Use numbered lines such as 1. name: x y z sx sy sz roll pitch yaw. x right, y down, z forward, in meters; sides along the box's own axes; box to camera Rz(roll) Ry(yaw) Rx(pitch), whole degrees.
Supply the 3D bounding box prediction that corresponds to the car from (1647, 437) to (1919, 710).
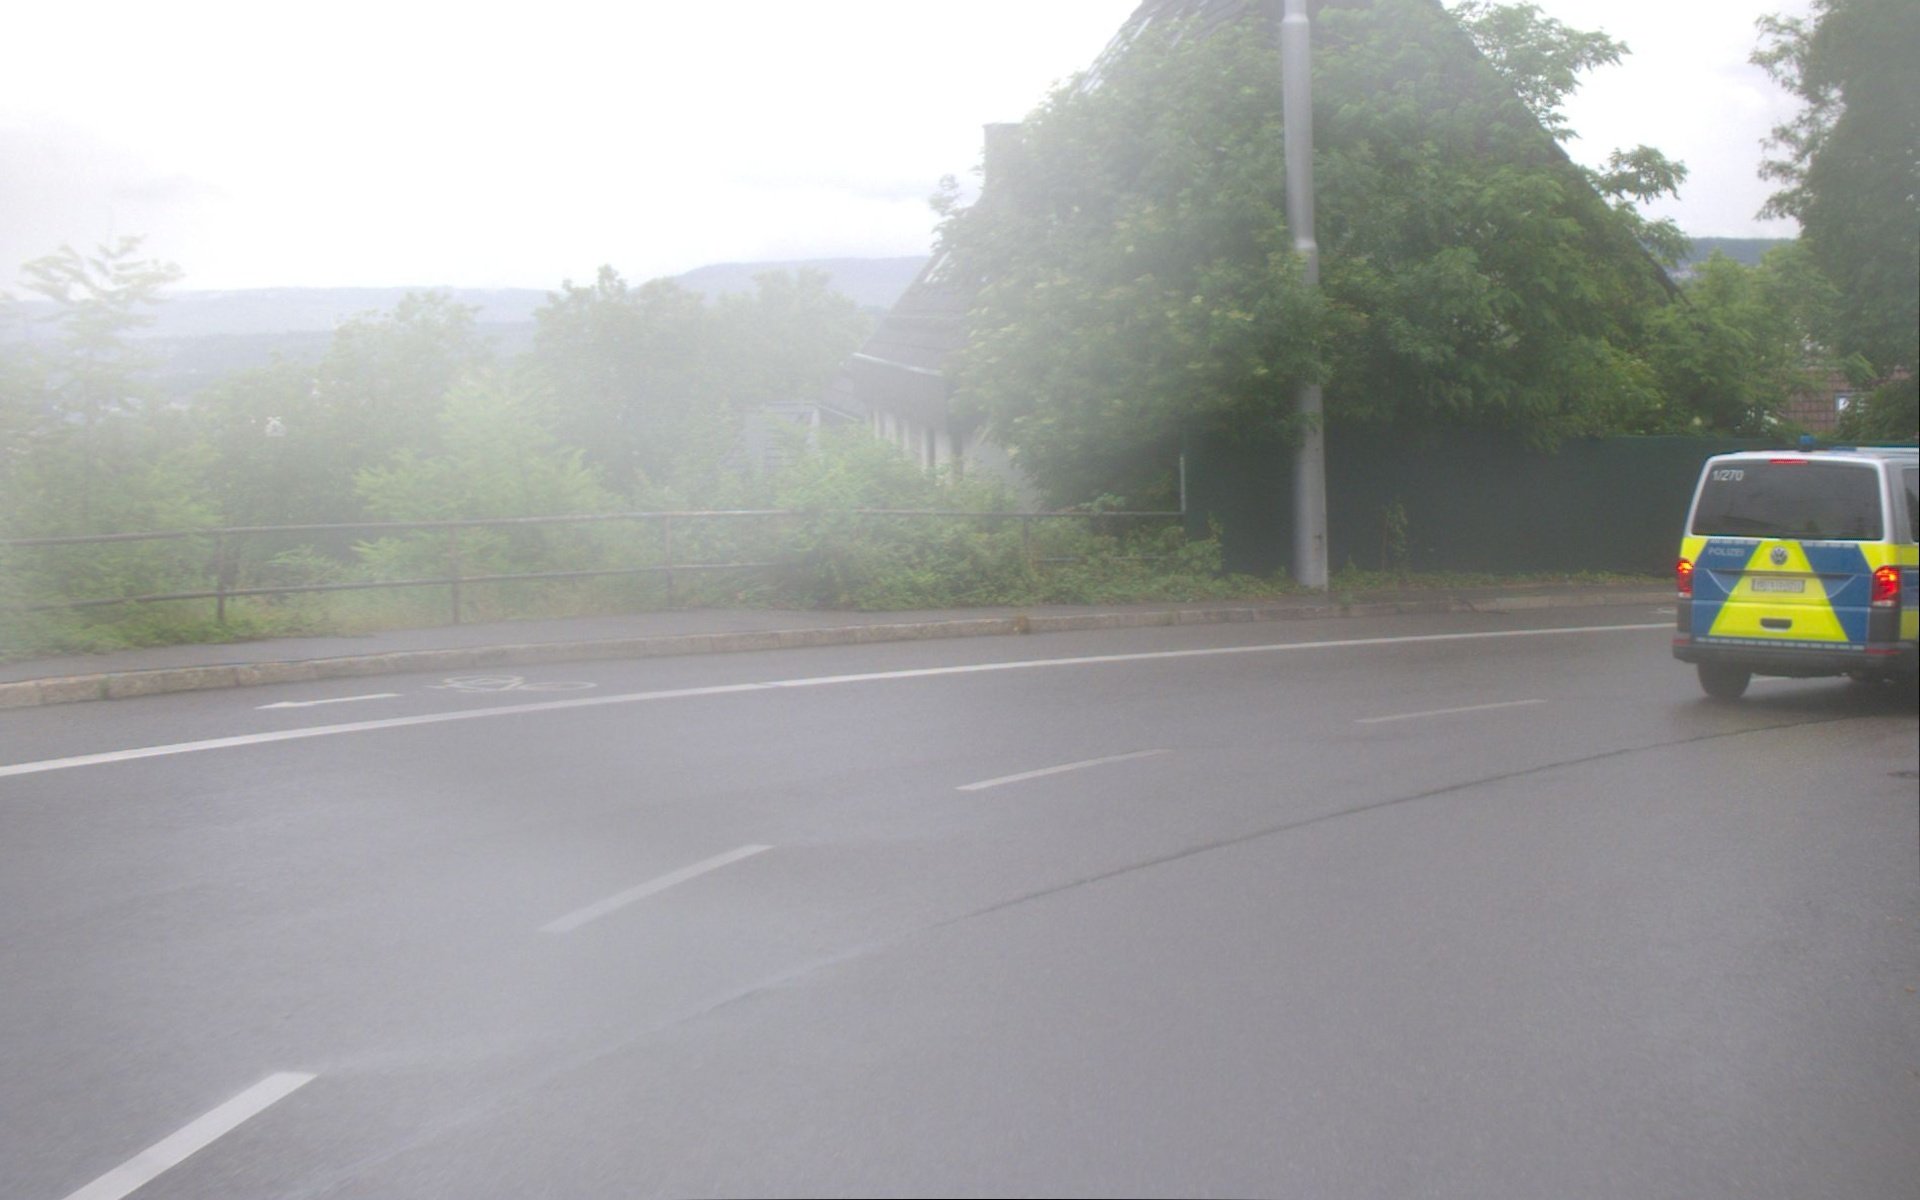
1. car: 7.318 -0.258 27.348 1.997 1.886 4.562 5 4 33
